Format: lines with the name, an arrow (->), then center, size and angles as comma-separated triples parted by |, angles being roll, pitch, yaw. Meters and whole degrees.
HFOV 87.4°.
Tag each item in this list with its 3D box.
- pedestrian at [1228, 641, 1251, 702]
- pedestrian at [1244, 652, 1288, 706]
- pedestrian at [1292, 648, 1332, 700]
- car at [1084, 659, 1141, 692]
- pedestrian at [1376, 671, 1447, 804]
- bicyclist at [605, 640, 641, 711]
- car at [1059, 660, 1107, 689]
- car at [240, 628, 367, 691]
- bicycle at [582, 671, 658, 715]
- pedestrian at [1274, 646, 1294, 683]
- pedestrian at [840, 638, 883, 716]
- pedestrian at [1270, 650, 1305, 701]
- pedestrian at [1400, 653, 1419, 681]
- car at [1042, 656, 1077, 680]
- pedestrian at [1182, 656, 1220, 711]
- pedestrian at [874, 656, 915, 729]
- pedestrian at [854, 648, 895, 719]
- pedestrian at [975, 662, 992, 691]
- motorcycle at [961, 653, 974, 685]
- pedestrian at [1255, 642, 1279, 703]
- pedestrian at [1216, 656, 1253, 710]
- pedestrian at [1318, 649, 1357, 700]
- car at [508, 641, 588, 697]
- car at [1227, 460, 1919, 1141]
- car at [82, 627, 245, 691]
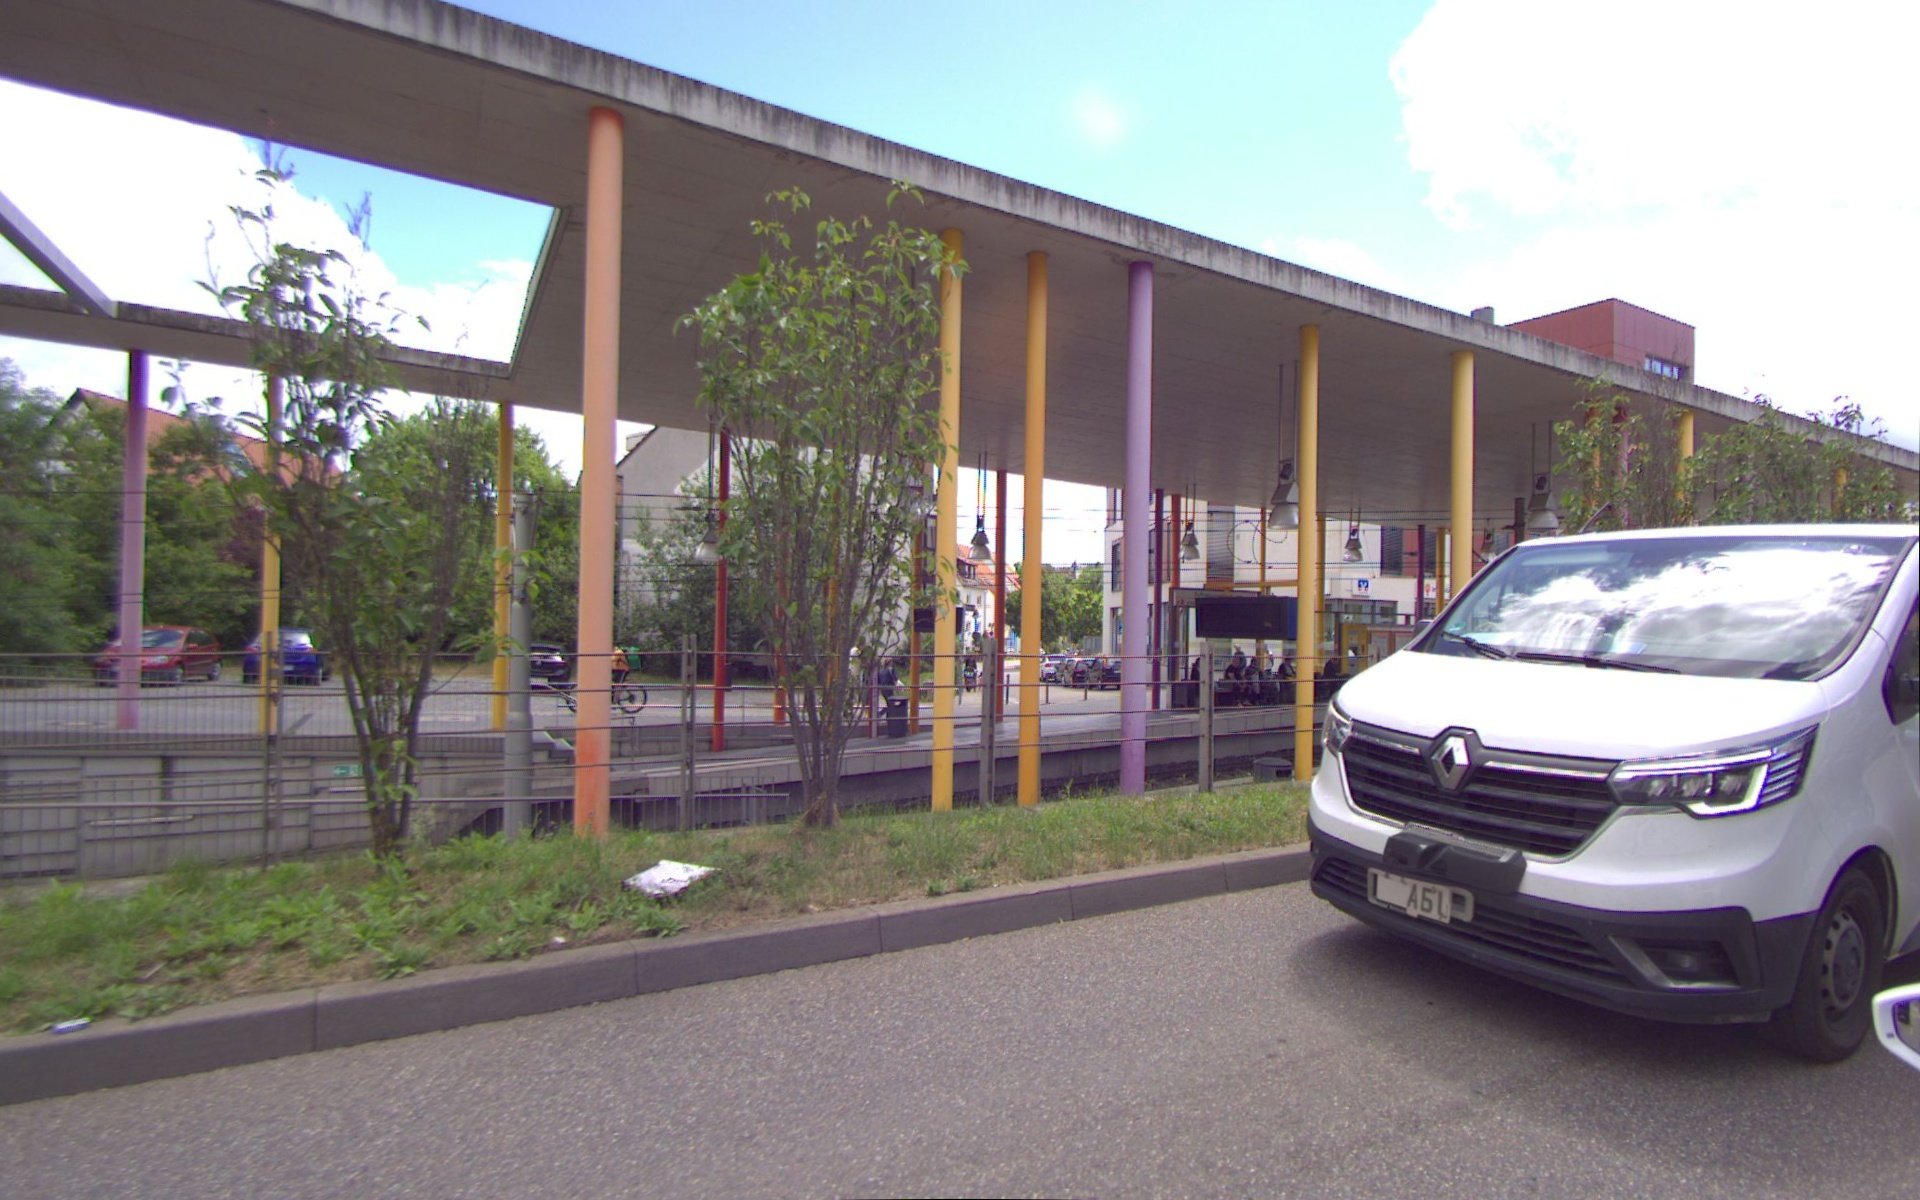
pedestrian -> 8.679, 2.210, 31.229 | 0.486, 1.845, 0.480 | 0, 1, -32
pedestrian -> 8.503, 2.187, 27.918 | 0.693, 1.397, 0.923 | 0, 1, -29
pedestrian -> 10.128, 2.114, 28.899 | 0.693, 1.397, 0.819 | 0, 1, -29
car -> 6.921, 3.441, 45.863 | 1.617, 1.341, 3.717 | 3, -4, -6
pedestrian -> 6.670, 2.010, 14.837 | 0.701, 1.854, 0.584 | 3, -1, -28
bicyclist -> -7.939, 1.773, 23.662 | 0.673, 1.614, 0.482 | 3, -1, -27
car -> 6.230, 3.784, 51.237 | 1.617, 1.341, 3.717 | 3, -4, -6
car -> -17.568, 1.542, 27.083 | 1.544, 1.419, 3.989 | 3, -1, -14
bicycle -> -7.992, 2.193, 23.647 | 1.592, 0.975, 0.482 | 4, -1, -28
pedestrian -> 11.866, 2.350, 36.750 | 0.505, 1.321, 0.523 | 2, -1, 37
pedestrian -> -2.494, 1.954, 25.396 | 0.791, 1.908, 0.639 | 3, -1, -30
pedestrian -> 9.293, 2.132, 28.499 | 0.693, 1.397, 0.648 | 0, 1, -29
pedestrian -> 17.098, 2.545, 38.208 | 0.555, 1.036, 0.362 | 3, -1, -28
car -> 6.073, 4.185, 61.401 | 1.615, 1.341, 3.720 | 3, -4, -1
pedestrian -> 6.483, 2.243, 27.021 | 0.696, 1.397, 0.683 | 0, 1, -29
pedestrian -> -1.577, 2.222, 24.191 | 0.722, 1.683, 0.639 | 3, -1, -30
pedestrian -> -2.095, 2.038, 24.701 | 0.722, 1.683, 0.639 | 3, -1, -30
pedestrian -> 1.049, 3.437, 45.094 | 0.693, 1.203, 0.546 | 3, -1, 5
motorcycle -> 0.318, 3.014, 44.146 | 0.503, 1.356, 1.567 | 0, -3, 3
pedestrian -> 9.321, 2.204, 30.492 | 0.486, 1.799, 0.480 | 0, 1, -32
pedestrian -> 7.555, 2.271, 27.651 | 0.693, 1.397, 0.648 | 0, 1, -29
pedestrian -> 11.033, 2.164, 29.378 | 0.693, 1.397, 0.819 | 0, 1, -29
car -> -12.028, 1.980, 29.562 | 1.544, 1.354, 3.989 | 3, -1, -14
car -> 3.900, 0.632, 4.988 | 5.004, 1.943, 1.995 | 2, 0, -30
car -> -20.218, 1.449, 25.708 | 1.697, 1.354, 3.989 | 3, -1, -14
